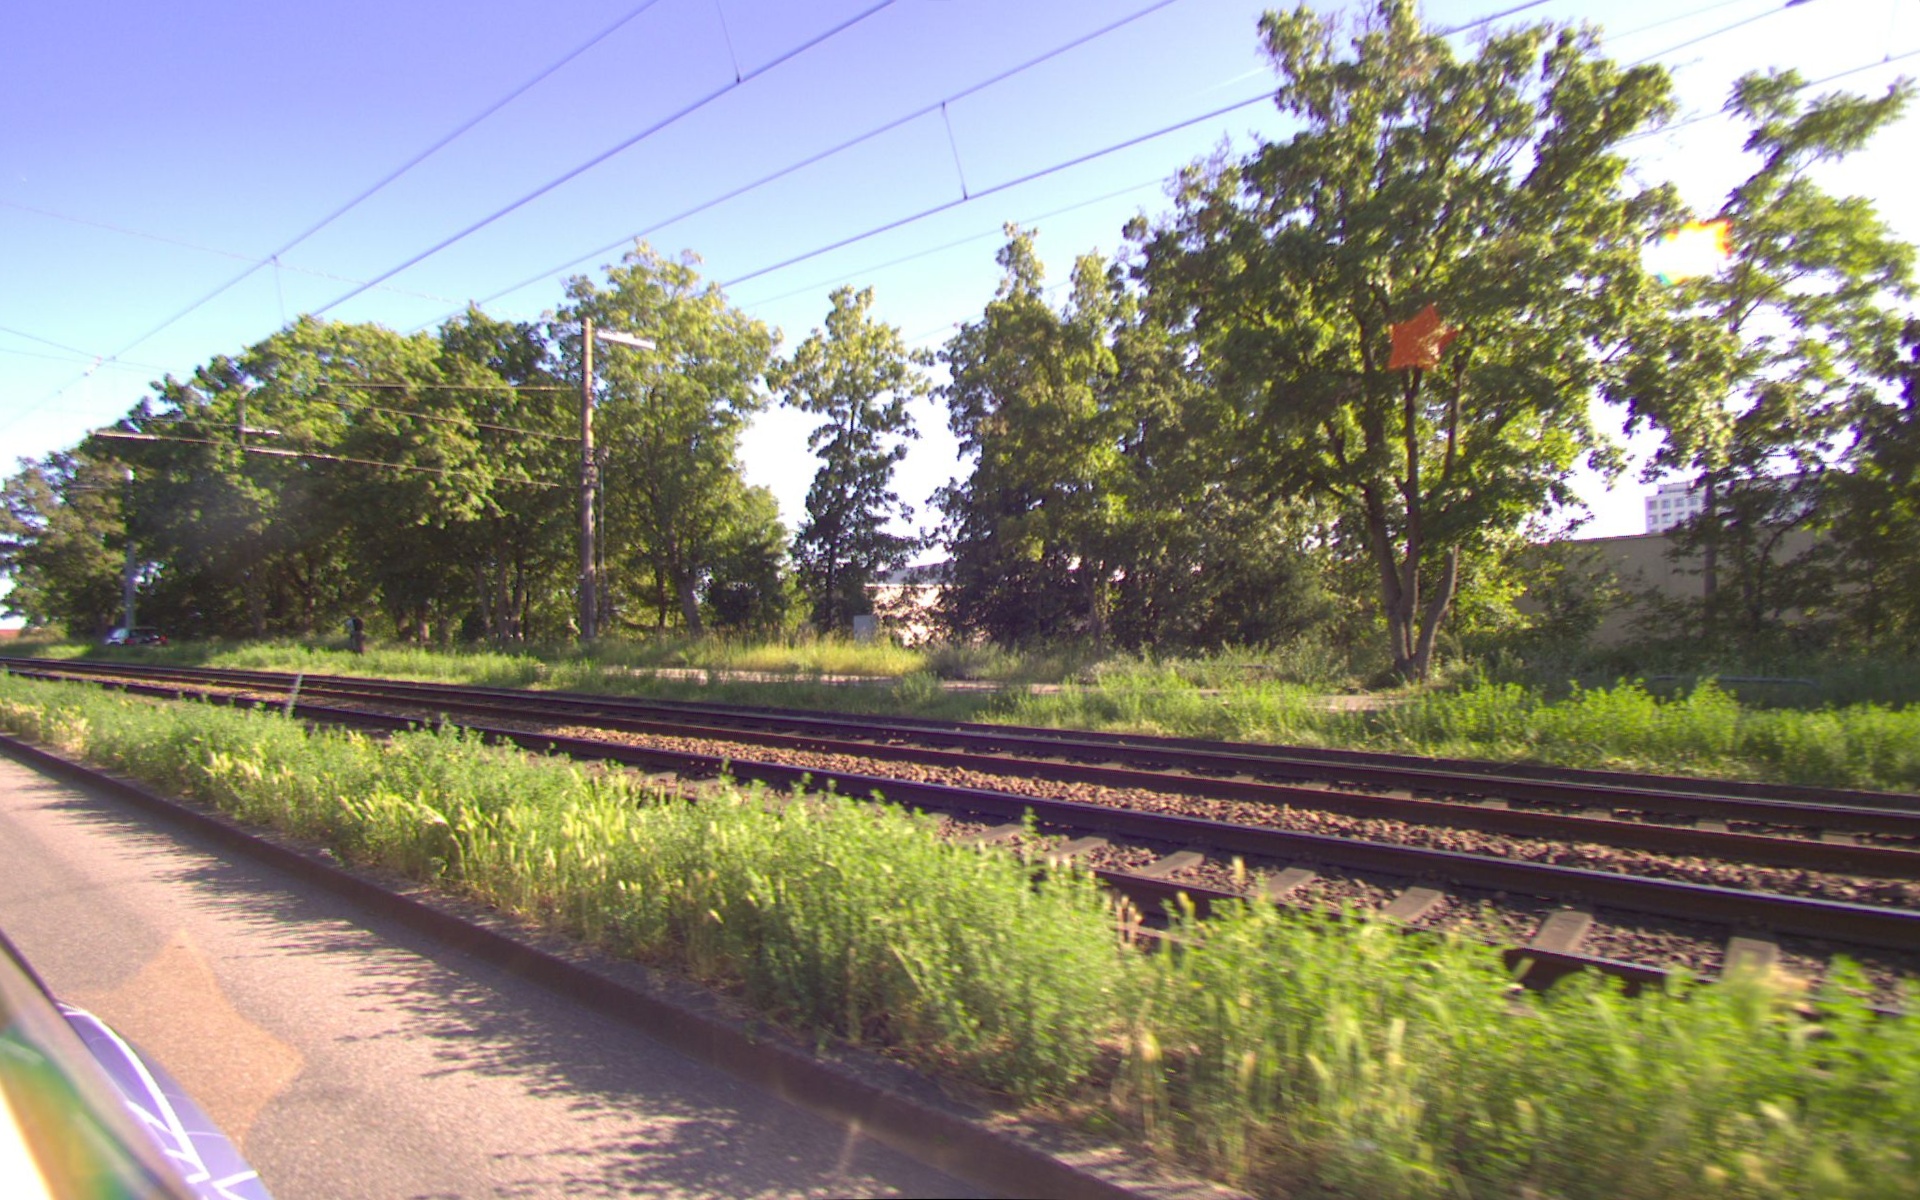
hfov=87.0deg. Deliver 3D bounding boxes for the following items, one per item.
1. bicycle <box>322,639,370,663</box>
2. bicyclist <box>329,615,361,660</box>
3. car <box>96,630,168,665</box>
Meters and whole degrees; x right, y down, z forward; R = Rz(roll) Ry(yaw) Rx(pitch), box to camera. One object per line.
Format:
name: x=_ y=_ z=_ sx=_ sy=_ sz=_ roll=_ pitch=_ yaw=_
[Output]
bicycle: x=-24.359 y=2.016 z=40.130 sx=2.534 sy=0.921 sz=0.810 roll=-2 pitch=-1 yaw=38
bicyclist: x=-24.376 y=1.498 z=40.131 sx=0.901 sy=1.749 sz=0.811 roll=-2 pitch=-1 yaw=38
car: x=-38.355 y=2.191 z=46.874 sx=3.993 sy=1.490 sz=1.695 roll=-2 pitch=-1 yaw=37
